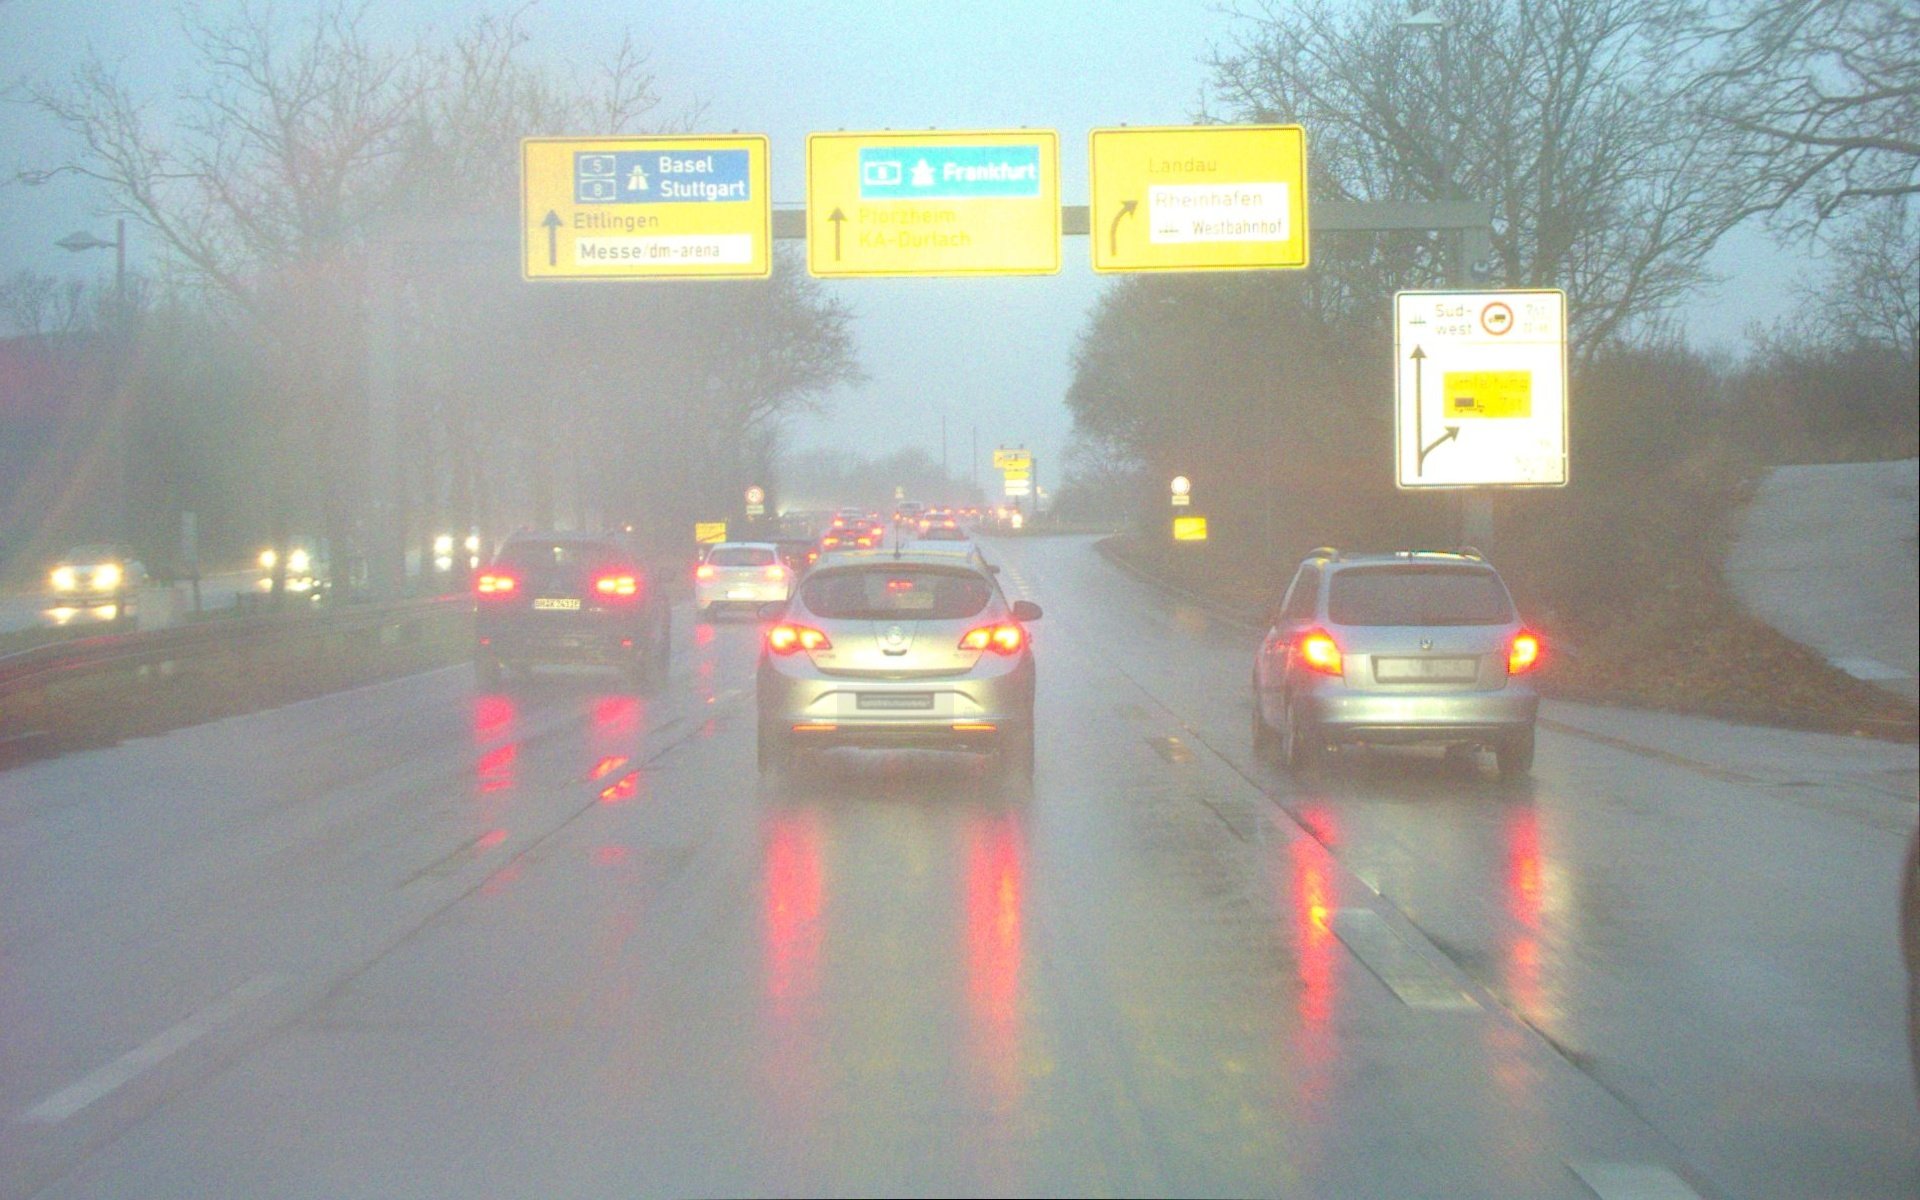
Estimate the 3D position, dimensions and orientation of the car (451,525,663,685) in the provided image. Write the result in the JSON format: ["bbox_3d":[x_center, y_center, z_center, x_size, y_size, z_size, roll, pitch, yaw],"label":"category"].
[{"bbox_3d":[-4.375,0.030,37.828,1.822,1.642,4.000,-1,1,0],"label":"car"}]

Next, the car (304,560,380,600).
[{"bbox_3d":[-20.502,-0.676,114.181,1.751,1.303,4.316,0,1,0],"label":"car"}]

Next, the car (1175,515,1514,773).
[{"bbox_3d":[2.636,0.279,24.567,1.933,1.642,4.466,1,0,0],"label":"car"}]

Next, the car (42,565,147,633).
[{"bbox_3d":[-21.608,-0.048,85.924,1.785,1.621,3.575,0,1,-1],"label":"car"}]

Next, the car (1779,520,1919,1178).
[{"bbox_3d":[3.307,0.613,7.399,1.815,1.612,4.411,-1,1,-3],"label":"car"}]

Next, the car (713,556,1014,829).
[{"bbox_3d":[-0.576,0.559,23.283,1.822,1.642,4.466,1,0,0],"label":"car"}]

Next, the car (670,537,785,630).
[{"bbox_3d":[-4.284,-0.319,63.843,1.822,1.642,4.000,-1,1,0],"label":"car"}]
